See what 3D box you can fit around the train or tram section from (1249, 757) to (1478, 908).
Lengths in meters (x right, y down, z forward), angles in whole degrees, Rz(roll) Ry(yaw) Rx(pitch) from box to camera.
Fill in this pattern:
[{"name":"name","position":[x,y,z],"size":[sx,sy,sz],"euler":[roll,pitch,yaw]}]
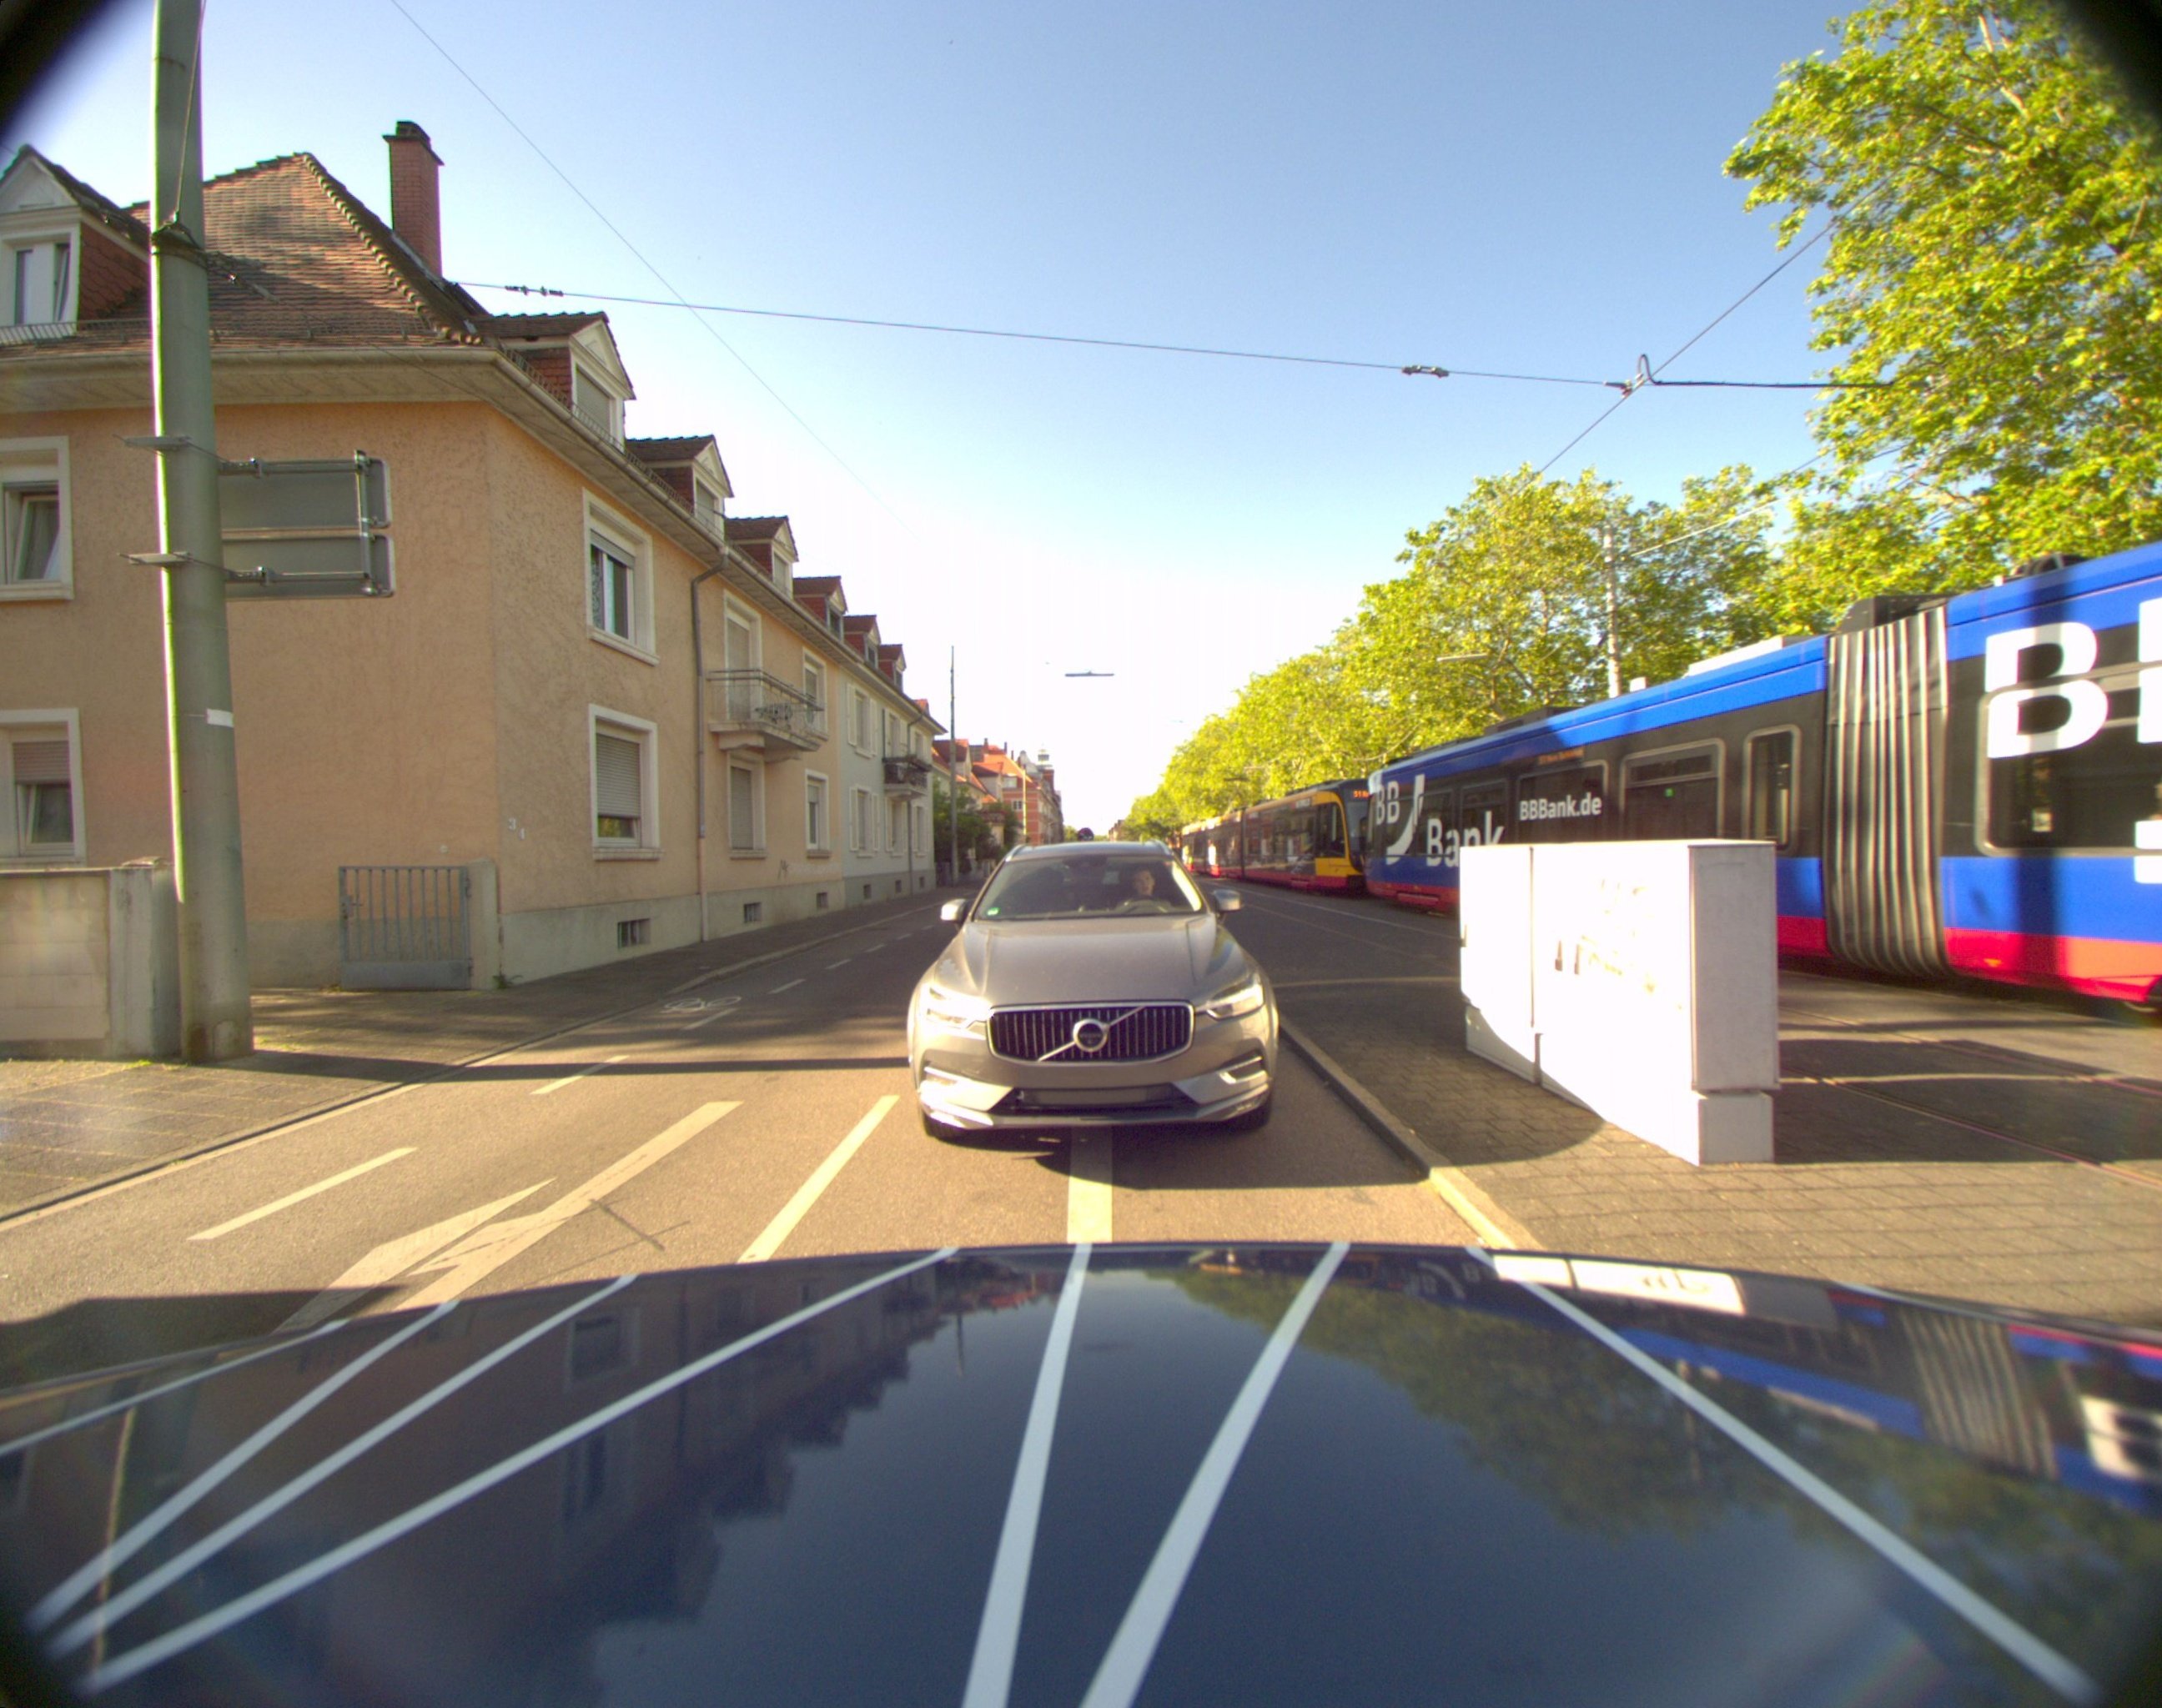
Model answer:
[{"name":"train or tram section","position":[8.170,-0.551,24.426],"size":[3.062,3.592,12.114],"euler":[-1,0,1]}]

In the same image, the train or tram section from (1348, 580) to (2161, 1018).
[{"name":"train or tram section","position":[8.034,-0.487,12.373],"size":[3.063,3.592,12.113],"euler":[-1,0,0]}]

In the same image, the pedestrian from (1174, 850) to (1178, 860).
[{"name":"pedestrian","position":[16.225,0.203,130.232],"size":[0.578,1.632,0.677],"euler":[-1,1,3]}]

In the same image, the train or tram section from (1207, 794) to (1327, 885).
[{"name":"train or tram section","position":[8.456,-0.614,36.468],"size":[3.062,3.592,11.950],"euler":[-1,0,2]}]

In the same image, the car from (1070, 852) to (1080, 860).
[{"name":"car","position":[-1.103,0.315,148.082],"size":[1.882,1.477,3.999],"euler":[-1,0,-1]}]

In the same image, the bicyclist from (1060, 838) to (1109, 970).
[{"name":"bicyclist","position":[0.053,0.653,10.206],"size":[0.600,1.709,0.662],"euler":[-1,1,1]}]

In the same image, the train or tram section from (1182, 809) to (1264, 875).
[{"name":"train or tram section","position":[8.753,-0.700,48.839],"size":[3.062,3.592,12.889],"euler":[-1,0,1]}]

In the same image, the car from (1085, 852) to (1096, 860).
[{"name":"car","position":[1.678,0.386,139.003],"size":[1.882,1.477,3.999],"euler":[-1,0,-1]}]

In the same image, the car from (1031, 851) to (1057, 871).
[{"name":"car","position":[-2.935,0.548,60.911],"size":[1.882,1.477,3.999],"euler":[-1,0,-1]}]

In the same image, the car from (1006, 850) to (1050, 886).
[{"name":"car","position":[-2.899,0.728,42.959],"size":[1.932,1.834,5.313],"euler":[-1,0,2]}]

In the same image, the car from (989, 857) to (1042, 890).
[{"name":"car","position":[-3.136,0.921,37.155],"size":[1.881,1.477,4.001],"euler":[-1,0,5]}]

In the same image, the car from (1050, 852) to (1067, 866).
[{"name":"car","position":[-2.510,0.553,85.575],"size":[1.882,1.477,3.999],"euler":[-1,0,-1]}]

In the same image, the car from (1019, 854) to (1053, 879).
[{"name":"car","position":[-2.815,0.786,48.298],"size":[1.882,1.477,3.999],"euler":[-1,0,-1]}]

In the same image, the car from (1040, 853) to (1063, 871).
[{"name":"car","position":[-2.608,0.656,67.157],"size":[1.882,1.477,3.999],"euler":[-1,0,-1]}]

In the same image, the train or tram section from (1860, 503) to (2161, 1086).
[{"name":"train or tram section","position":[8.638,-0.376,0.281],"size":[3.064,3.592,12.495],"euler":[-1,0,-6]}]

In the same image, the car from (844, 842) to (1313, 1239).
[{"name":"car","position":[0.021,0.768,5.403],"size":[1.917,1.621,4.502],"euler":[-1,0,1]}]
